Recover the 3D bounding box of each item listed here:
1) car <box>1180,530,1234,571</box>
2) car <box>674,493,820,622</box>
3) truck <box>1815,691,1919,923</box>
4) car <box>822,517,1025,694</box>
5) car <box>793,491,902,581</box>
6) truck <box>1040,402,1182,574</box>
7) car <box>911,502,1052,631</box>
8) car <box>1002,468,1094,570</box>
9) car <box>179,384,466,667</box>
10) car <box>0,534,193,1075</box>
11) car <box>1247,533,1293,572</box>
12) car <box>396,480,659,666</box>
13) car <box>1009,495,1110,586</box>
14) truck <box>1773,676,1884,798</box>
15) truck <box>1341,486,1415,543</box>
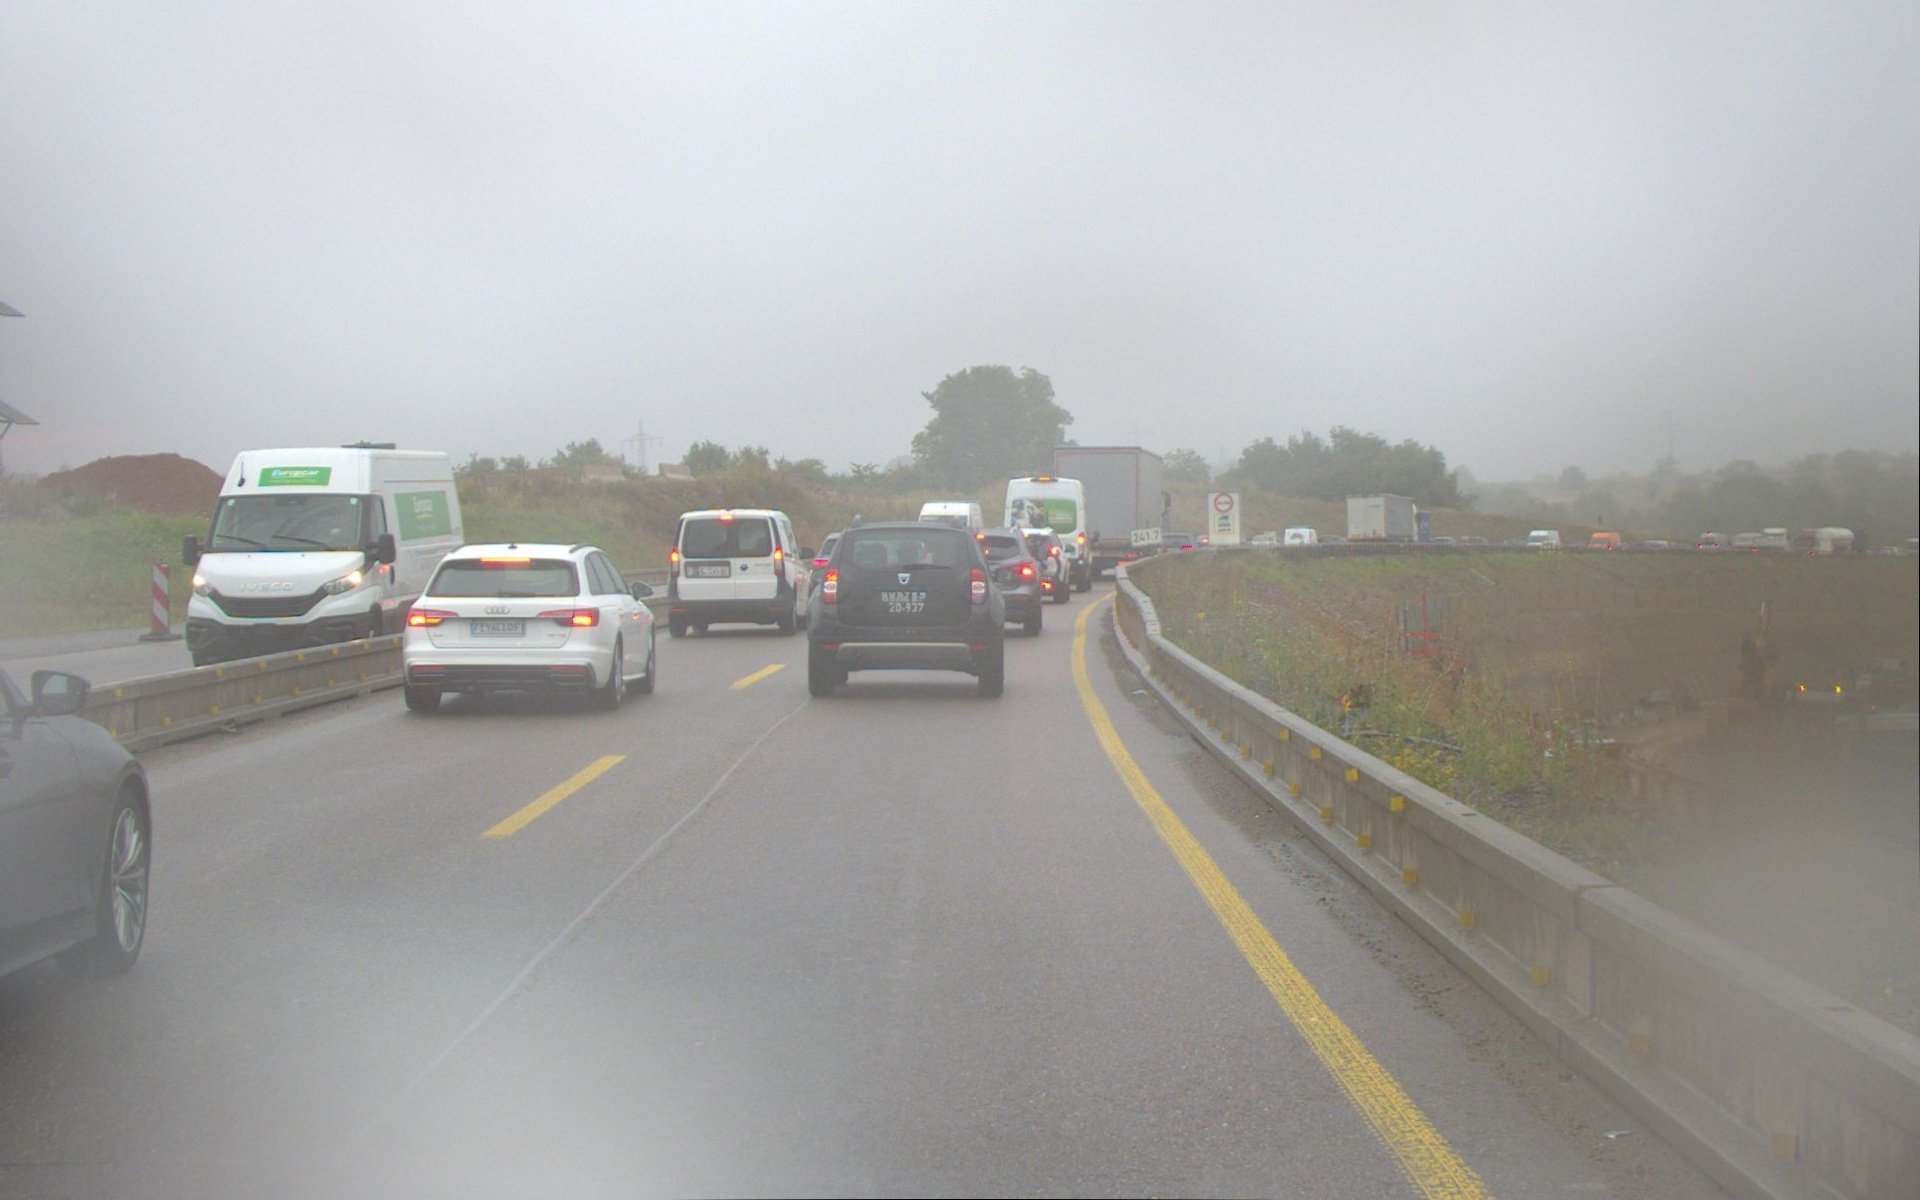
[{"bbox_3d":[13.032,-2.590,181.298,2.036,2.106,4.155,1,0,15],"label":"car"},{"bbox_3d":[-3.100,-0.616,50.674,1.826,1.809,4.000,0,0,1],"label":"car"},{"bbox_3d":[17.145,3.491,59.583,2.699,3.491,8.947,0,0,2],"label":"truck"},{"bbox_3d":[-0.292,0.030,33.053,1.826,1.585,4.000,0,0,1],"label":"car"},{"bbox_3d":[-2.318,-1.319,71.546,1.826,1.809,3.999,1,0,4],"label":"car"},{"bbox_3d":[4.768,-3.336,106.266,3.544,5.060,10.439,1,0,7],"label":"truck"},{"bbox_3d":[0.357,-0.494,50.460,1.826,1.809,4.000,1,0,4],"label":"car"},{"bbox_3d":[2.199,-1.975,84.802,1.827,2.429,4.157,1,0,7],"label":"car"},{"bbox_3d":[-7.388,-0.877,40.634,1.993,3.035,7.171,0,1,0],"label":"car"},{"bbox_3d":[-3.615,0.614,10.016,1.734,1.457,5.630,0,3,-3],"label":"car"},{"bbox_3d":[18.474,-2.821,204.617,2.036,2.248,4.155,1,0,15],"label":"car"},{"bbox_3d":[-3.692,-0.239,29.958,1.826,1.494,4.000,0,0,-1],"label":"car"},{"bbox_3d":[2.079,-1.217,71.004,1.826,1.809,3.999,1,0,5],"label":"car"},{"bbox_3d":[28.212,4.382,111.992,2.731,3.479,9.061,1,0,9],"label":"truck"},{"bbox_3d":[27.754,-5.684,227.828,3.475,3.702,8.411,0,1,17],"label":"truck"}]
